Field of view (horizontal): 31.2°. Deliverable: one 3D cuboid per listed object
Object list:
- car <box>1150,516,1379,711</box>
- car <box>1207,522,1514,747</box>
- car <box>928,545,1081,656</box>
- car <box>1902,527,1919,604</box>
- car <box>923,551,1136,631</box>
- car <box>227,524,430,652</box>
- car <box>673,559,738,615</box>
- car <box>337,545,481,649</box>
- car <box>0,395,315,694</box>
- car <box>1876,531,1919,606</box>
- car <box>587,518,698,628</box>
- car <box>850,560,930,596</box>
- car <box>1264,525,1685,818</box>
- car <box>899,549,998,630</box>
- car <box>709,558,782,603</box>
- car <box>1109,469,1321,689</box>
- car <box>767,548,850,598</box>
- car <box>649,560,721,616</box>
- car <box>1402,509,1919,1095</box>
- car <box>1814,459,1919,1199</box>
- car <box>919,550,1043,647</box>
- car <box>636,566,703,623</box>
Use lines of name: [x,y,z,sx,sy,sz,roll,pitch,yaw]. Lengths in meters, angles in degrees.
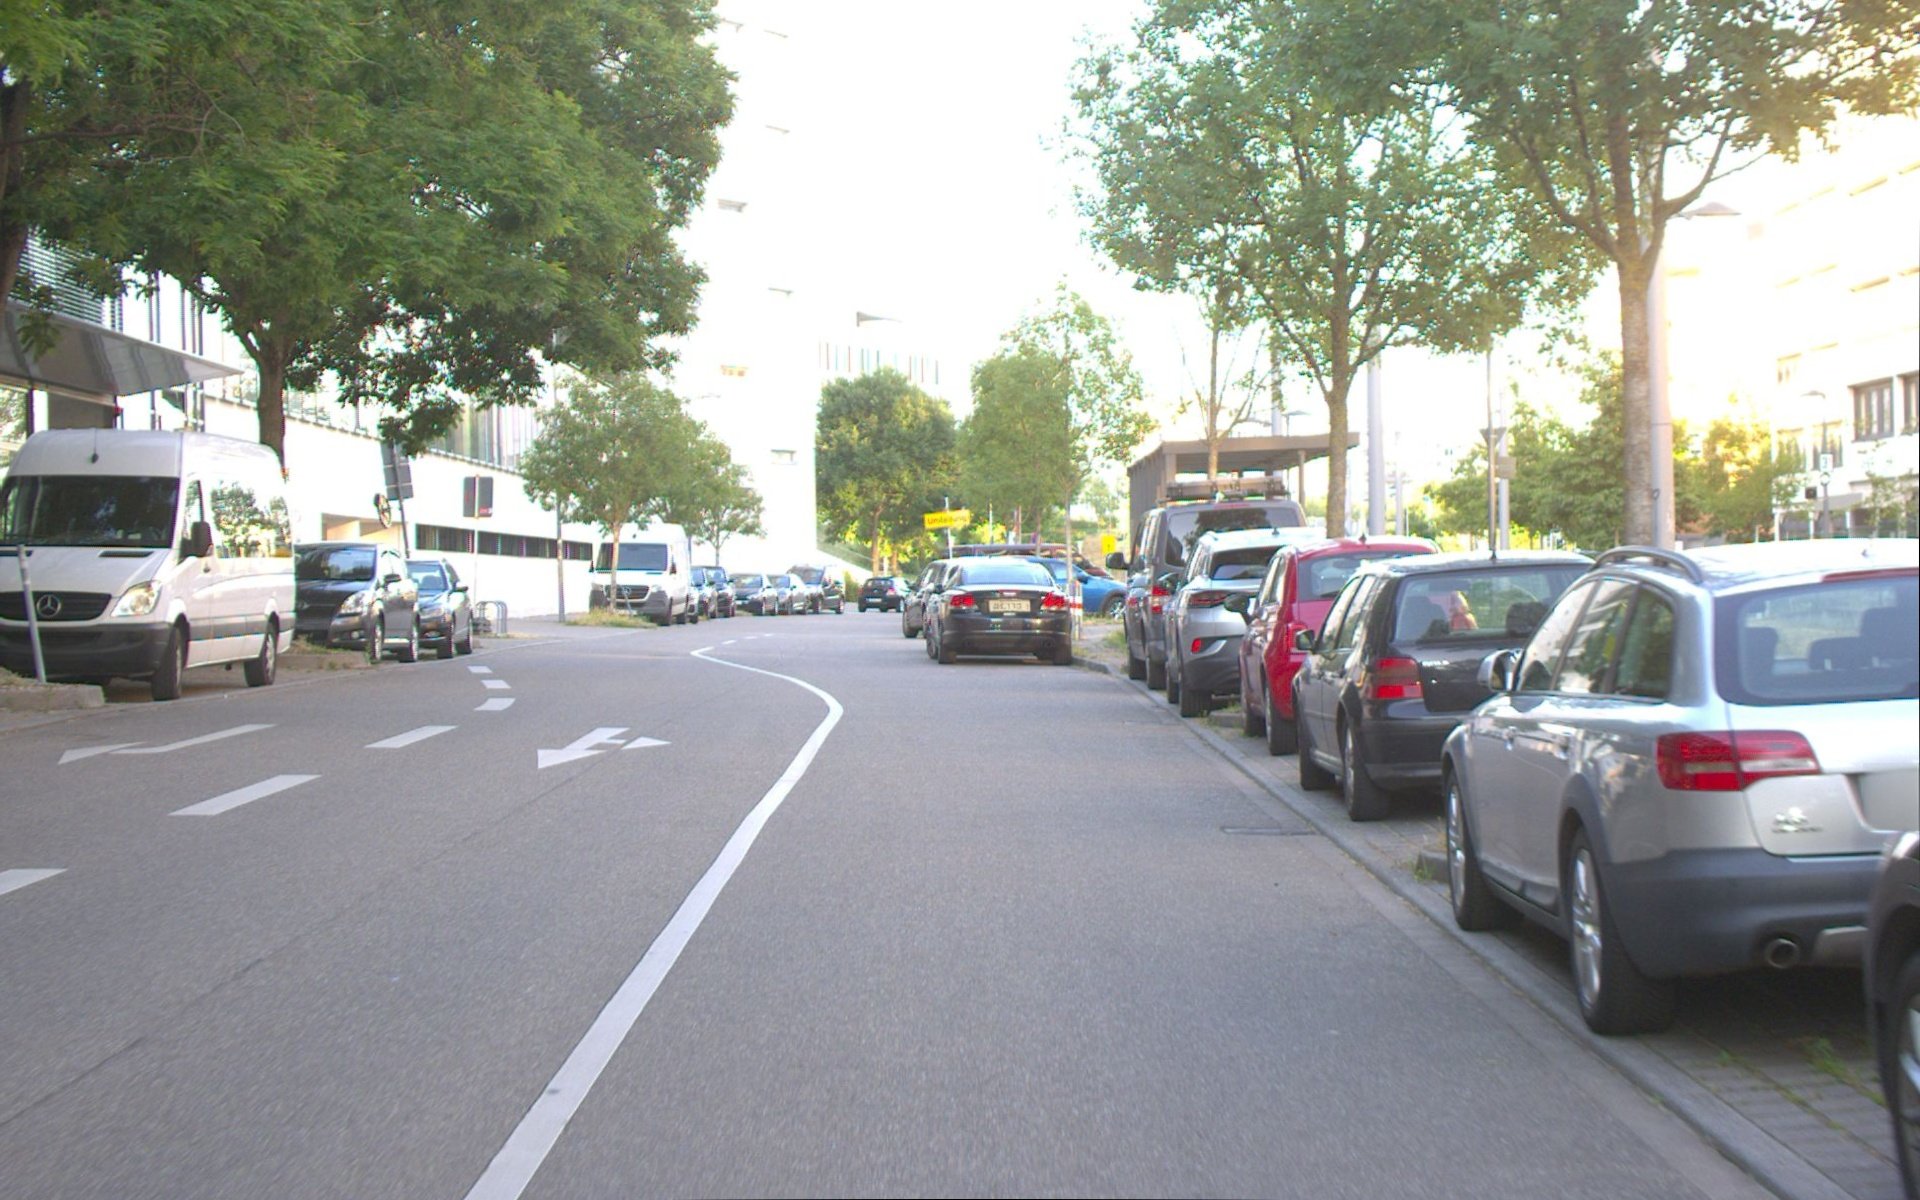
car: [2.696,0.085,31.244,1.707,1.575,4.479,-2,1,1]
car: [2.925,0.215,25.892,1.707,1.488,4.131,-2,1,-1]
car: [0.566,-0.029,47.458,1.787,1.447,4.516,0,1,-3]
car: [20.516,-0.760,66.683,3.987,1.482,1.675,-3,0,1]
car: [1.442,-0.191,71.019,3.988,1.515,1.927,-2,0,-35]
car: [-8.158,-0.181,44.720,1.844,1.566,4.267,0,1,0]
car: [-7.977,-0.424,107.934,1.756,1.648,3.949,1,1,-1]
car: [-8.036,-0.082,50.439,1.714,1.447,4.400,0,1,-4]
car: [-8.124,-0.548,34.144,2.100,2.654,6.951,0,1,0]
car: [20.695,-0.719,69.257,3.987,1.482,1.675,-3,0,1]
car: [-7.955,-0.706,86.799,1.958,2.608,6.892,1,1,1]
car: [-2.781,-0.878,137.539,1.945,1.378,4.396,2,1,16]
car: [2.836,0.348,19.763,1.707,1.446,4.000,-2,1,-1]
car: [-0.244,-0.189,65.260,1.731,1.461,4.000,1,0,-2]
car: [-7.231,-0.681,116.436,1.723,1.452,4.270,1,1,6]
car: [2.711,-0.241,37.505,1.804,2.169,4.736,-2,1,-1]
car: [-5.575,-0.998,127.273,1.758,1.792,4.460,2,1,15]
car: [-8.131,-0.368,101.874,1.756,1.555,4.043,1,1,0]
car: [2.697,0.486,11.583,1.796,1.491,4.780,-4,1,1]
car: [2.800,0.519,5.457,1.707,1.637,4.267,-2,1,-1]
car: [0.296,-0.046,53.421,1.676,1.447,4.188,0,1,-3]
car: [-7.873,-0.167,93.328,1.755,1.435,3.902,1,1,-5]
